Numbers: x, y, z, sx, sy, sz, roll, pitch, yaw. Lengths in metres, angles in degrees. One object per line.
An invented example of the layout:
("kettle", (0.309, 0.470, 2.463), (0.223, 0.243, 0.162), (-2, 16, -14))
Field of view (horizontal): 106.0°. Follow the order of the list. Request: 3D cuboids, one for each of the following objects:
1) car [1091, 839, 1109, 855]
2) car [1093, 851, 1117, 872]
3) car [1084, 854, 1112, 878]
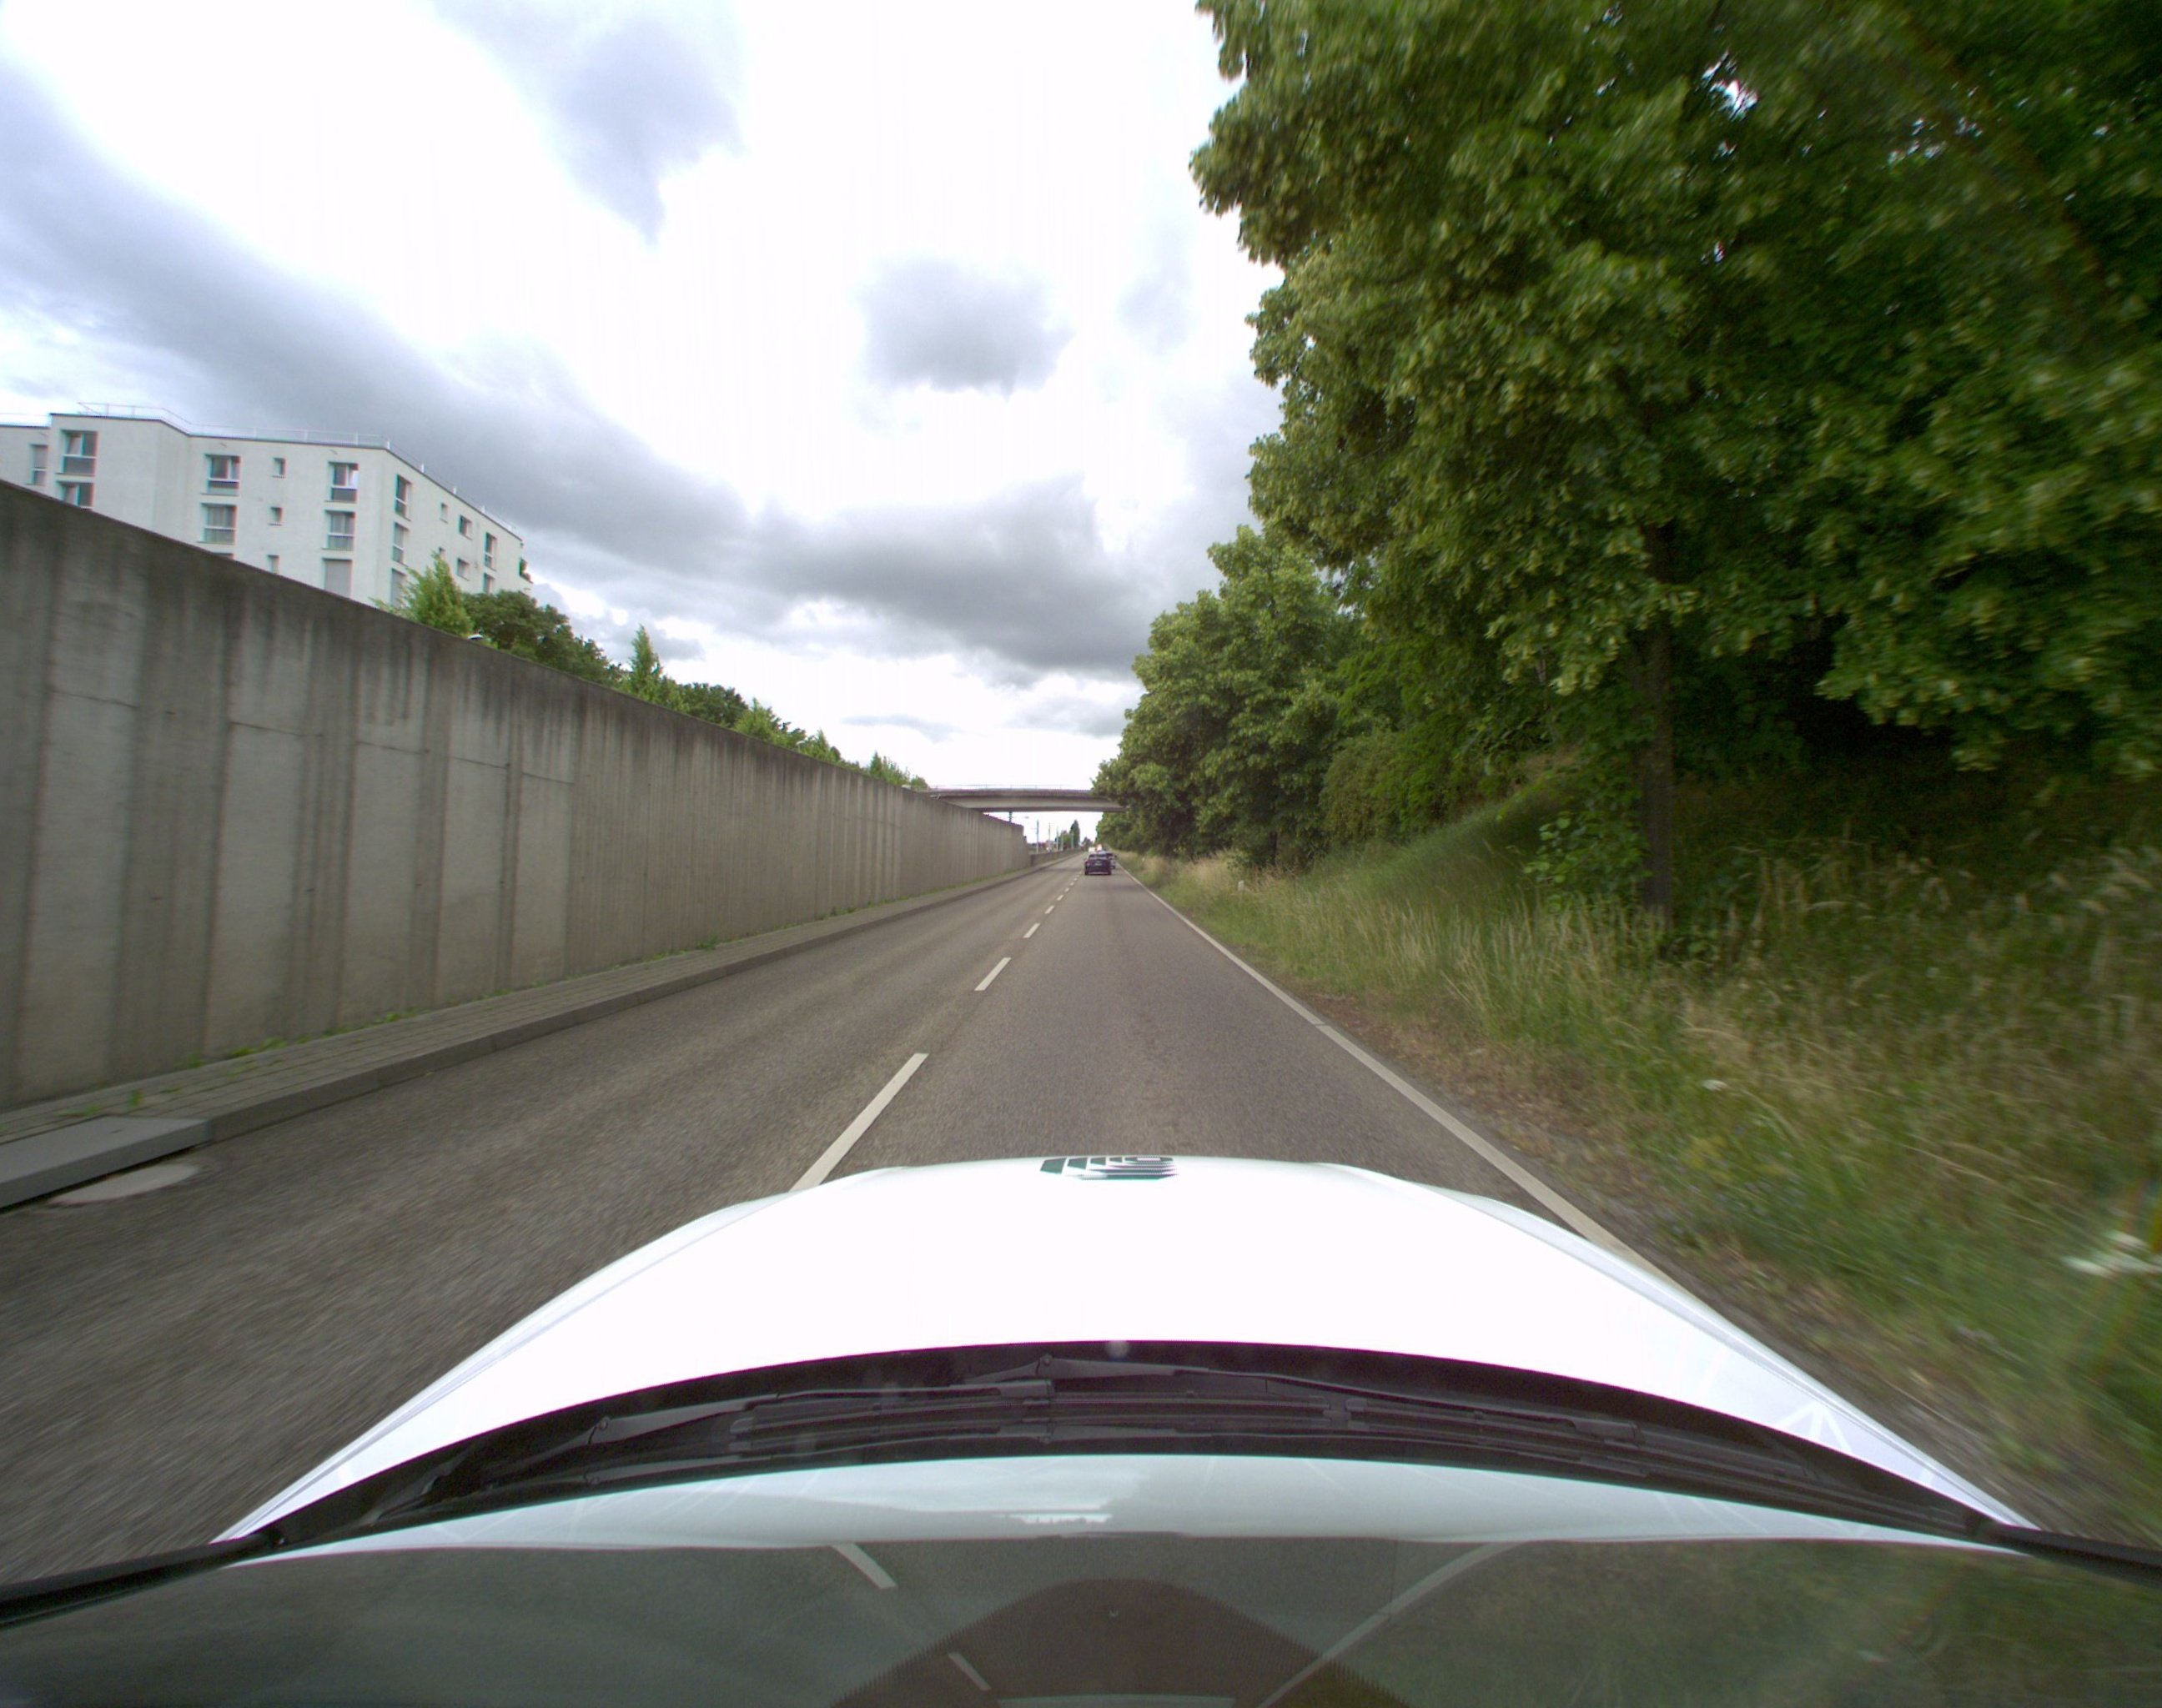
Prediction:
("car", (2.210, -0.791, 94.948), (1.986, 1.740, 4.001), (0, -1, 1))
("car", (2.055, 0.639, 70.379), (1.986, 1.753, 4.001), (0, 0, 1))
("car", (1.144, 0.775, 54.243), (1.775, 1.468, 4.001), (0, 0, 1))
